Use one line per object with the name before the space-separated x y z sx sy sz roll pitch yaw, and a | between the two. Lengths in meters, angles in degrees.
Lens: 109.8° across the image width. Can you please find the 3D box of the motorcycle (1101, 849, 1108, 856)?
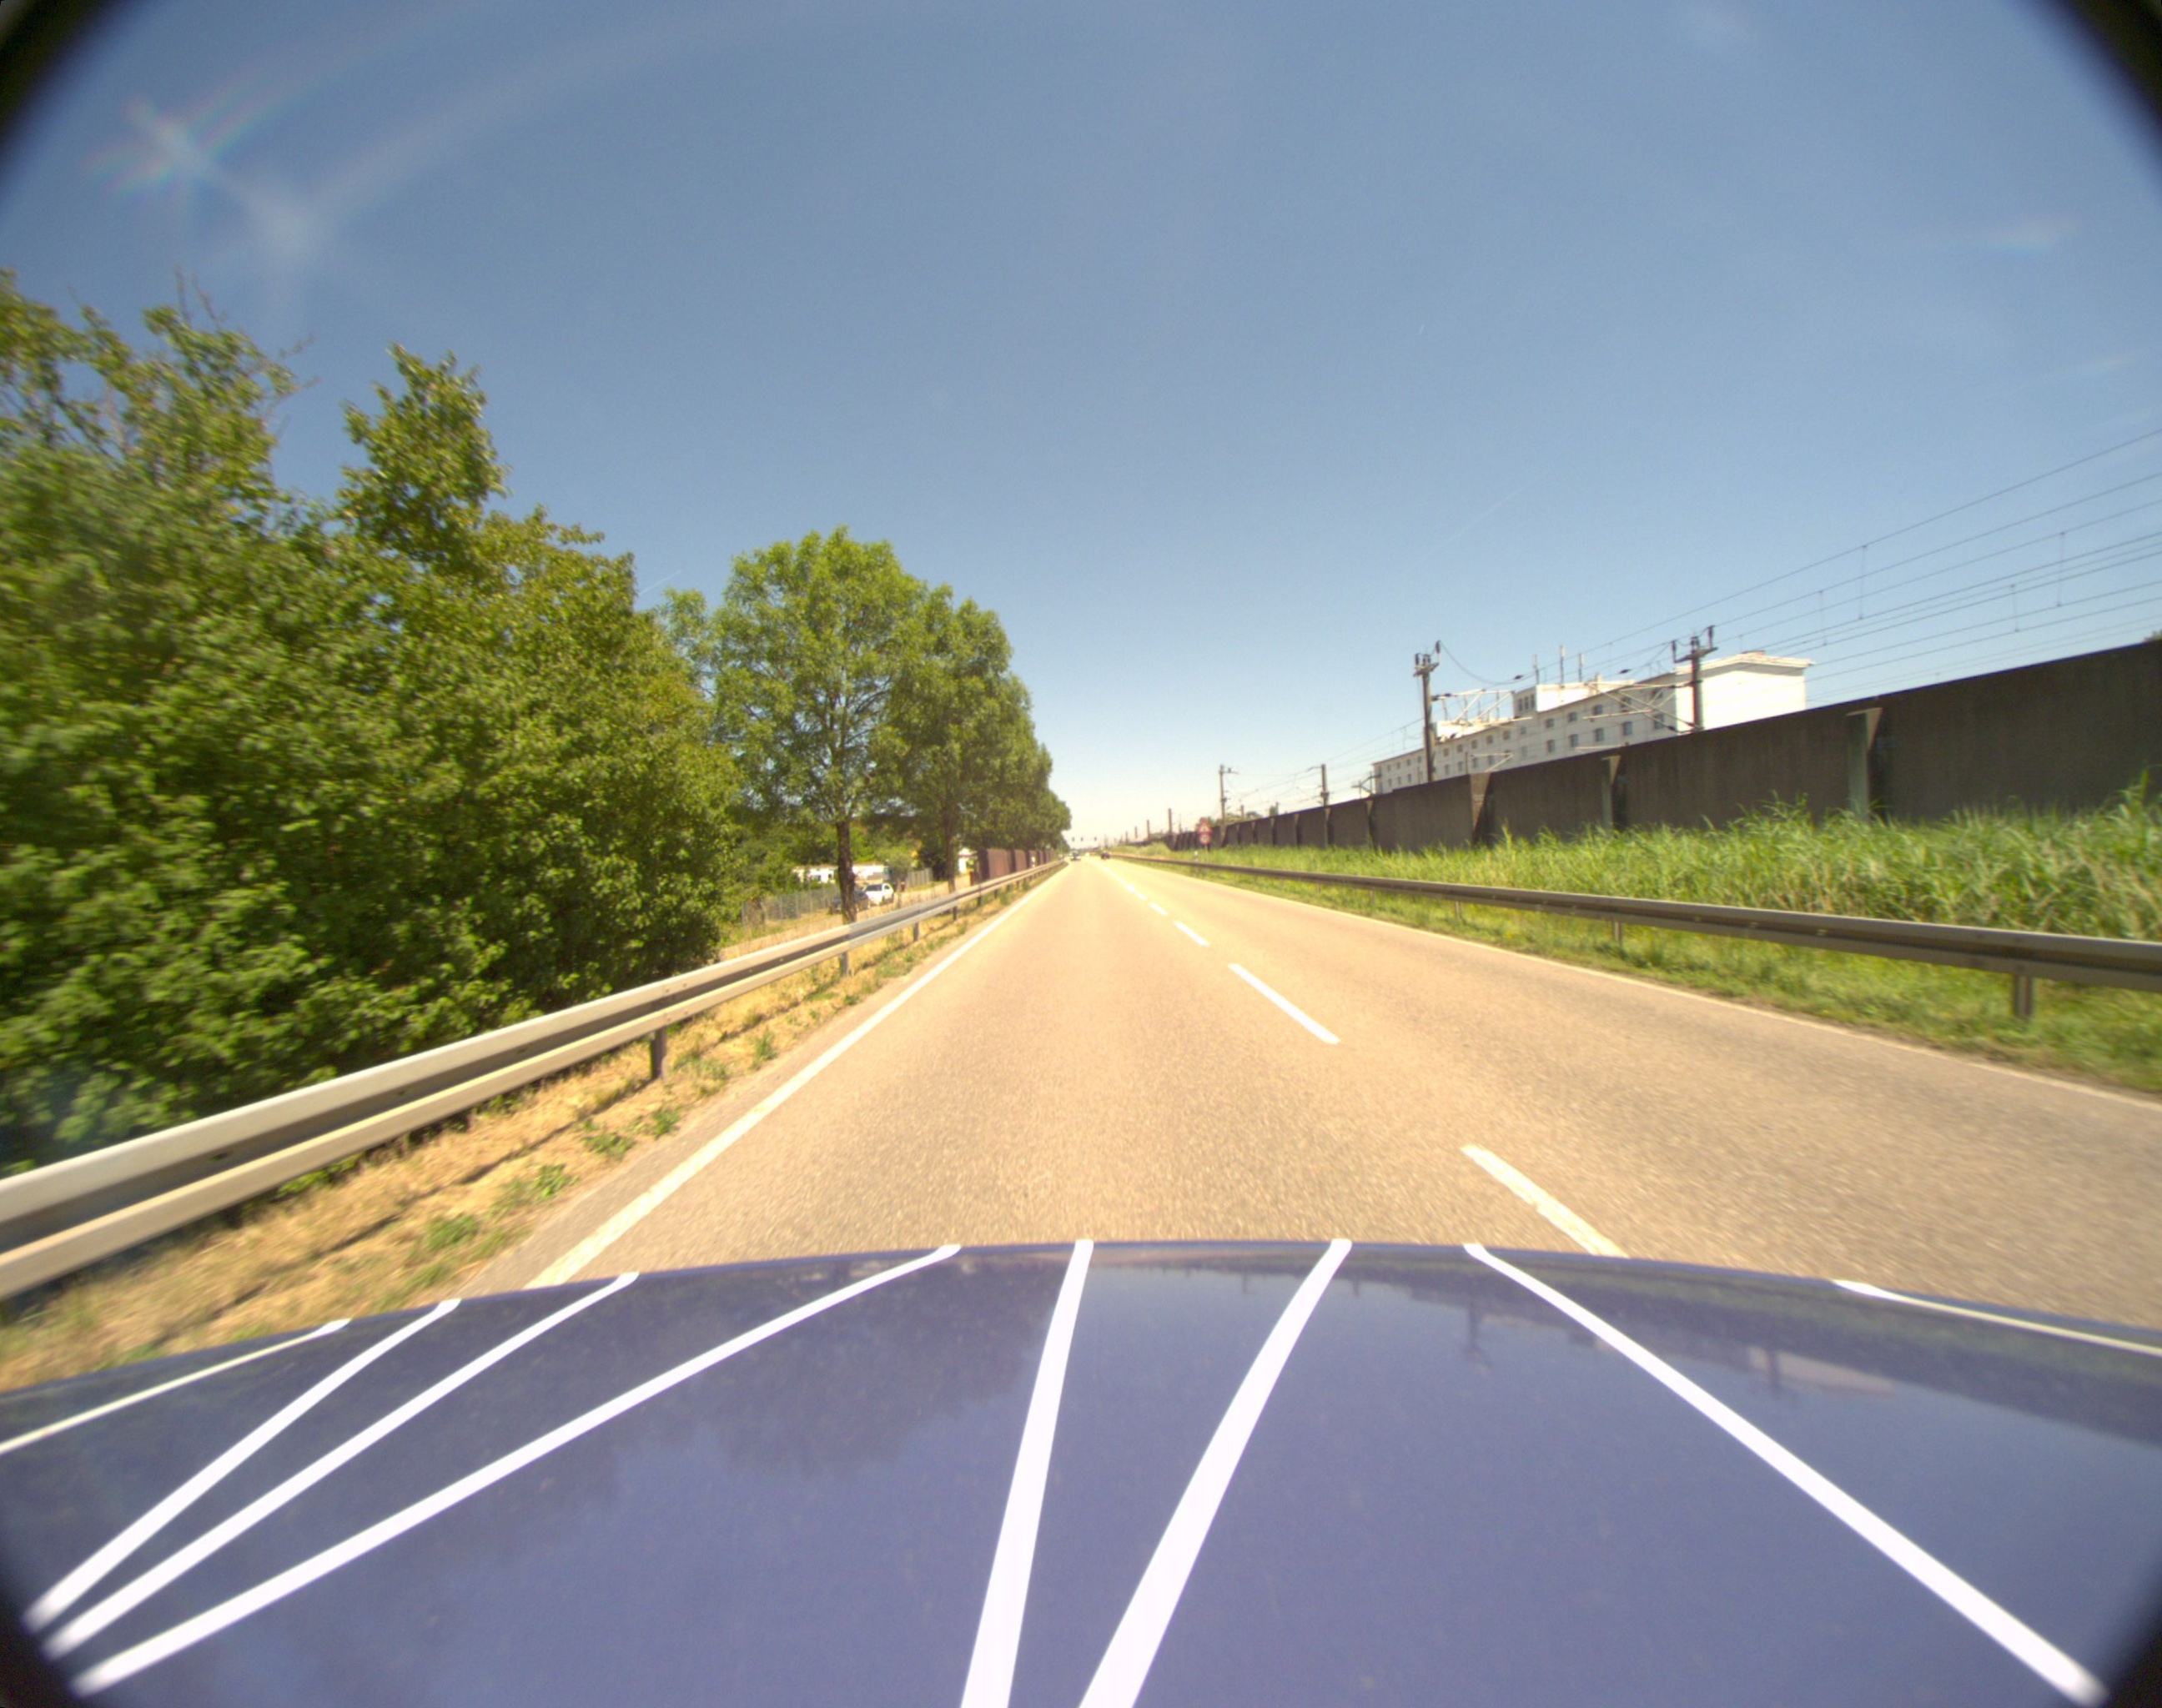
motorcycle | 4.277 -0.277 138.848 1.240 1.066 3.129 -2 0 0

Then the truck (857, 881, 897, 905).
truck | -15.491 2.949 57.984 1.895 1.535 4.000 -1 0 1

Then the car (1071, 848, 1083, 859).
car | -0.796 -0.131 142.753 1.999 2.002 3.999 -2 0 -1

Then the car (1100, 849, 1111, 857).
car | 5.158 -0.210 158.698 1.999 1.499 3.999 -2 0 -1

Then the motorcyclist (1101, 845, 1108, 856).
motorcyclist | 4.257 -0.666 138.966 1.257 1.853 1.245 -2 1 0

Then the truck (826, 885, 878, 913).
truck | -15.555 3.005 51.870 1.887 1.562 4.902 -2 0 1
